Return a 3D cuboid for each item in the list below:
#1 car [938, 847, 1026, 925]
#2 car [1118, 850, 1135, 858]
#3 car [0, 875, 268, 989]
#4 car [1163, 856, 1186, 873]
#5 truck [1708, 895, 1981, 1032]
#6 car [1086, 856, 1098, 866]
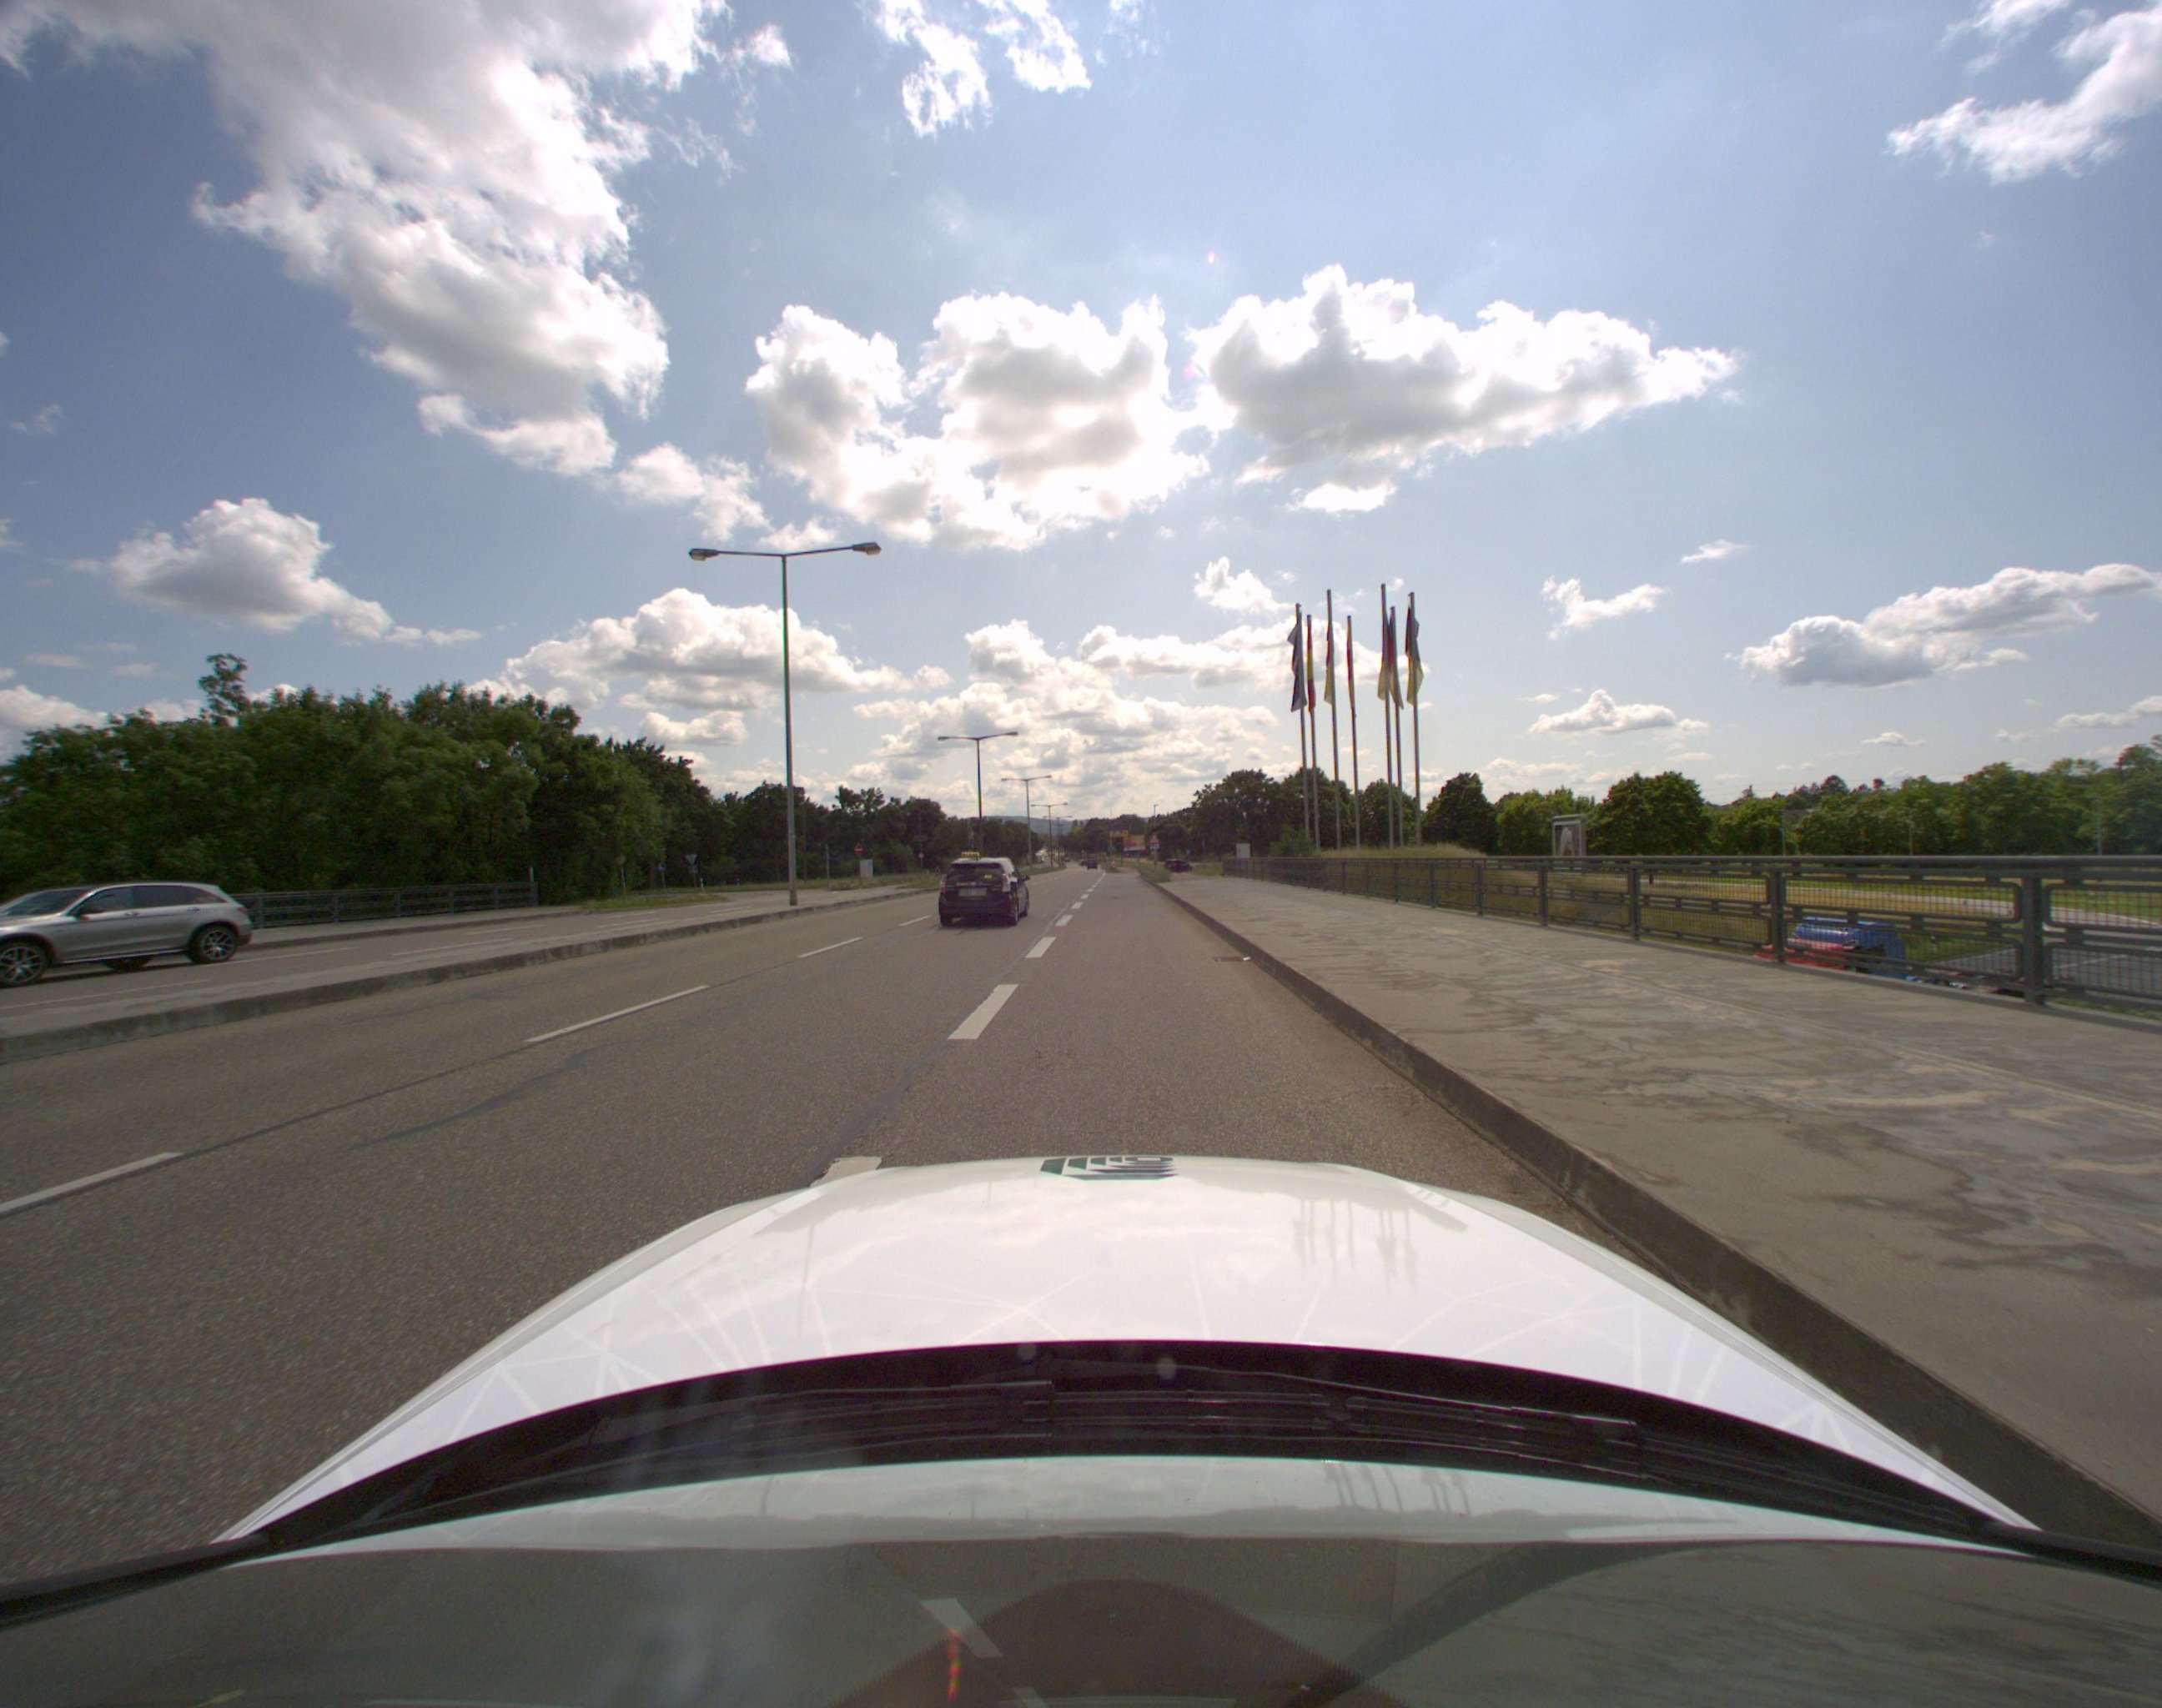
[{"bbox_3d":[-2.301,0.682,19.860,1.775,1.684,3.997,0,1,-2],"label":"car"},{"bbox_3d":[9.305,0.015,166.789,2.001,1.662,3.973,-1,1,-20],"label":"car"},{"bbox_3d":[-17.949,1.344,14.545,2.080,1.626,4.552,-4,1,2],"label":"car"},{"bbox_3d":[9.690,1.105,84.297,1.980,1.662,4.014,0,1,12],"label":"car"},{"bbox_3d":[30.623,4.105,32.716,9.629,4.403,3.992,-1,1,-19],"label":"truck"},{"bbox_3d":[1.923,1.144,141.654,1.988,1.662,3.998,0,1,-1],"label":"car"}]
